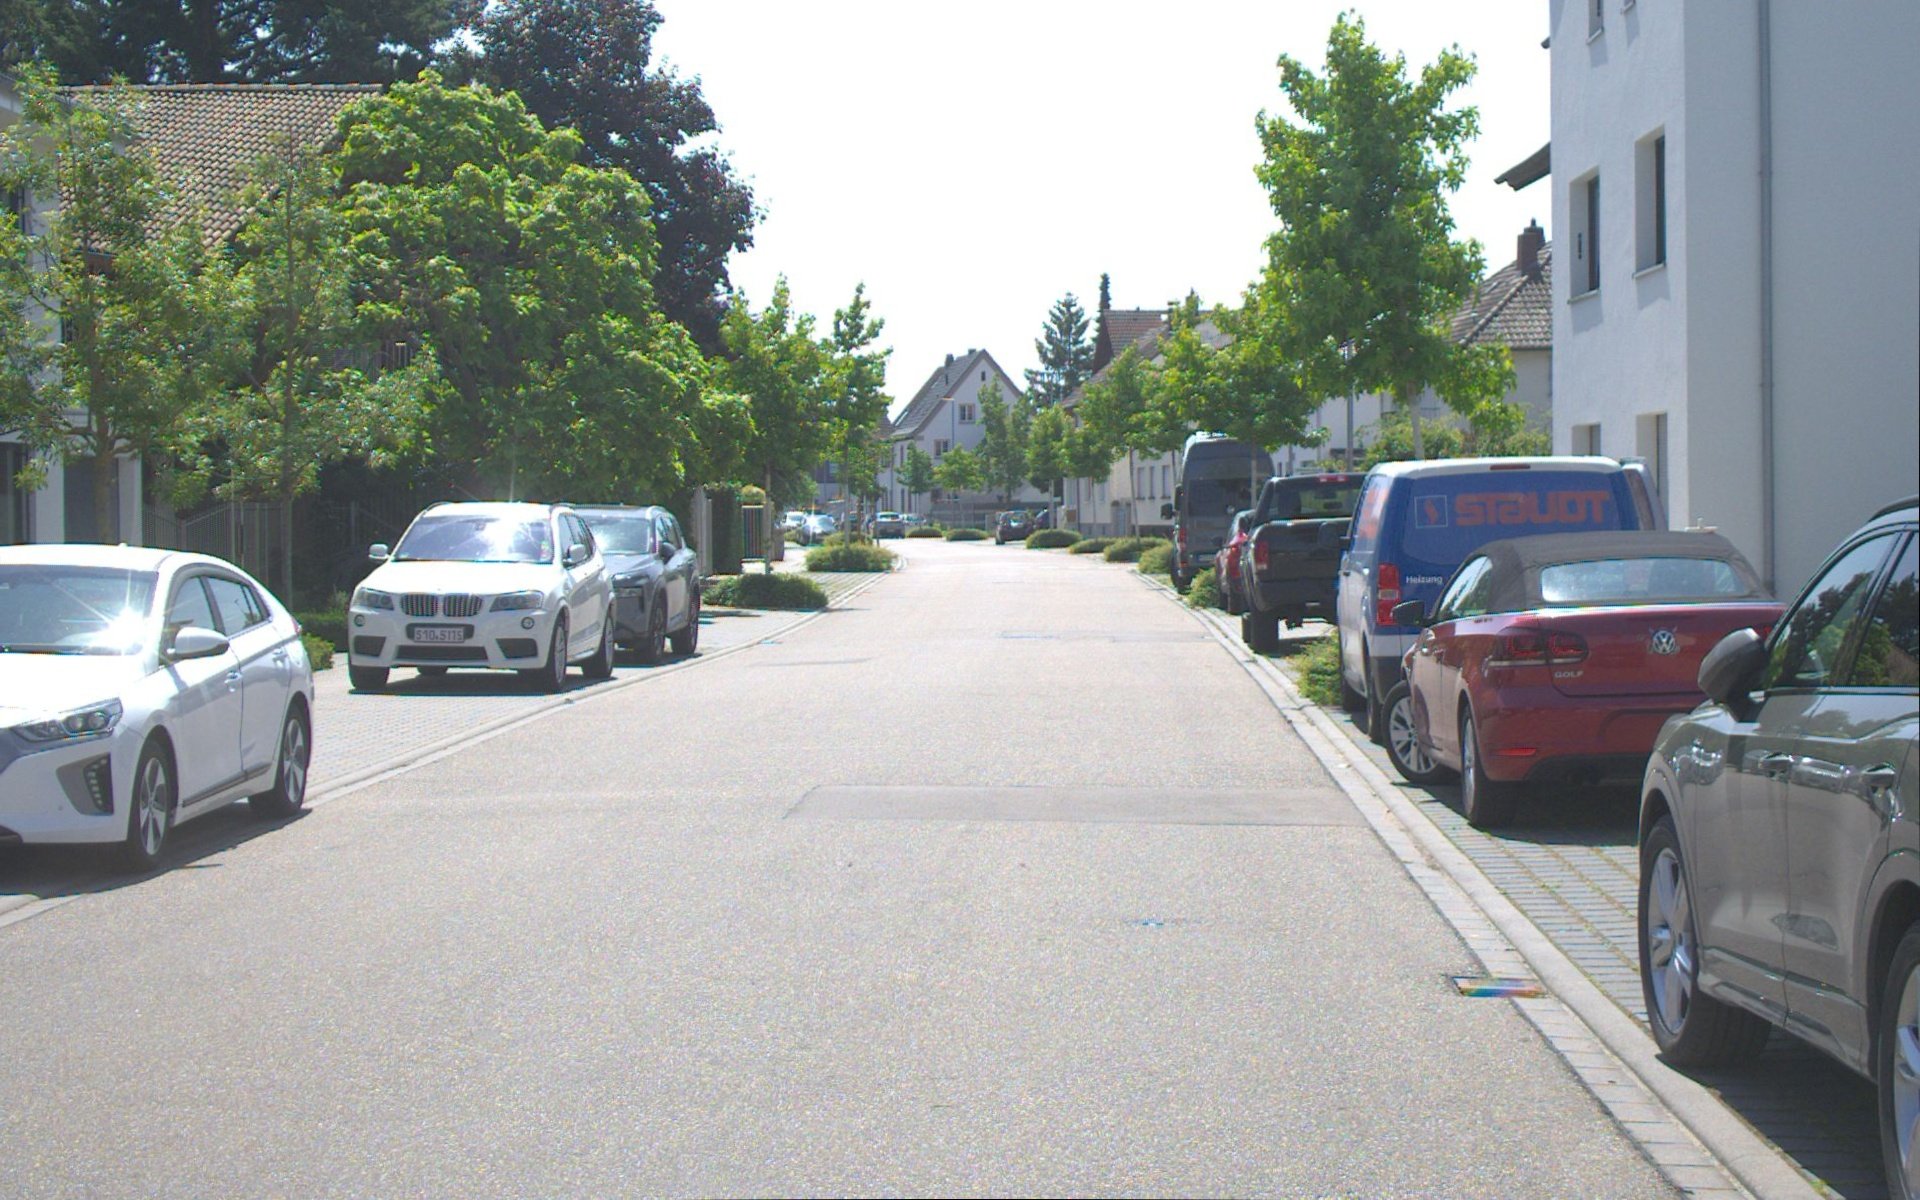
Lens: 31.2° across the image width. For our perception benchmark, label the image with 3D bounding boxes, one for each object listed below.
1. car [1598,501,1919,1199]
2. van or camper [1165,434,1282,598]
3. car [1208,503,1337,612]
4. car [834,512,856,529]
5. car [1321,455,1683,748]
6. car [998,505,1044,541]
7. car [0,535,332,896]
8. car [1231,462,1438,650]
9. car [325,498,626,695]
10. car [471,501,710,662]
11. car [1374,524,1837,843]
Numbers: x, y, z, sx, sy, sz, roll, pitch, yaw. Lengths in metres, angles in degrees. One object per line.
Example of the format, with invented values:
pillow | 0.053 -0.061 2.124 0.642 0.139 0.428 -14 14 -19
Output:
car | 2.775 0.560 8.068 1.773 1.590 4.279 -1 2 0
van or camper | 4.843 -1.559 63.653 1.994 2.931 4.000 -1 1 2
car | 4.782 -0.677 53.011 1.670 1.590 3.556 -1 1 0
car | -7.670 -5.291 228.793 1.188 1.066 3.054 -1 2 -7
car | 3.745 -0.050 24.589 2.099 1.875 4.842 -1 1 4
car | 2.826 -3.550 158.174 1.994 1.568 4.000 -1 2 3
car | -4.518 0.453 16.910 1.852 1.483 4.385 1 2 3
car | 4.173 -0.531 39.035 1.994 1.940 5.214 -1 1 3
car | -4.388 -0.087 31.830 1.927 1.681 4.498 0 2 3
car | -4.030 -0.252 38.213 1.994 1.674 4.214 0 2 3
car | 3.244 0.345 17.989 1.680 1.436 4.027 -1 2 0
